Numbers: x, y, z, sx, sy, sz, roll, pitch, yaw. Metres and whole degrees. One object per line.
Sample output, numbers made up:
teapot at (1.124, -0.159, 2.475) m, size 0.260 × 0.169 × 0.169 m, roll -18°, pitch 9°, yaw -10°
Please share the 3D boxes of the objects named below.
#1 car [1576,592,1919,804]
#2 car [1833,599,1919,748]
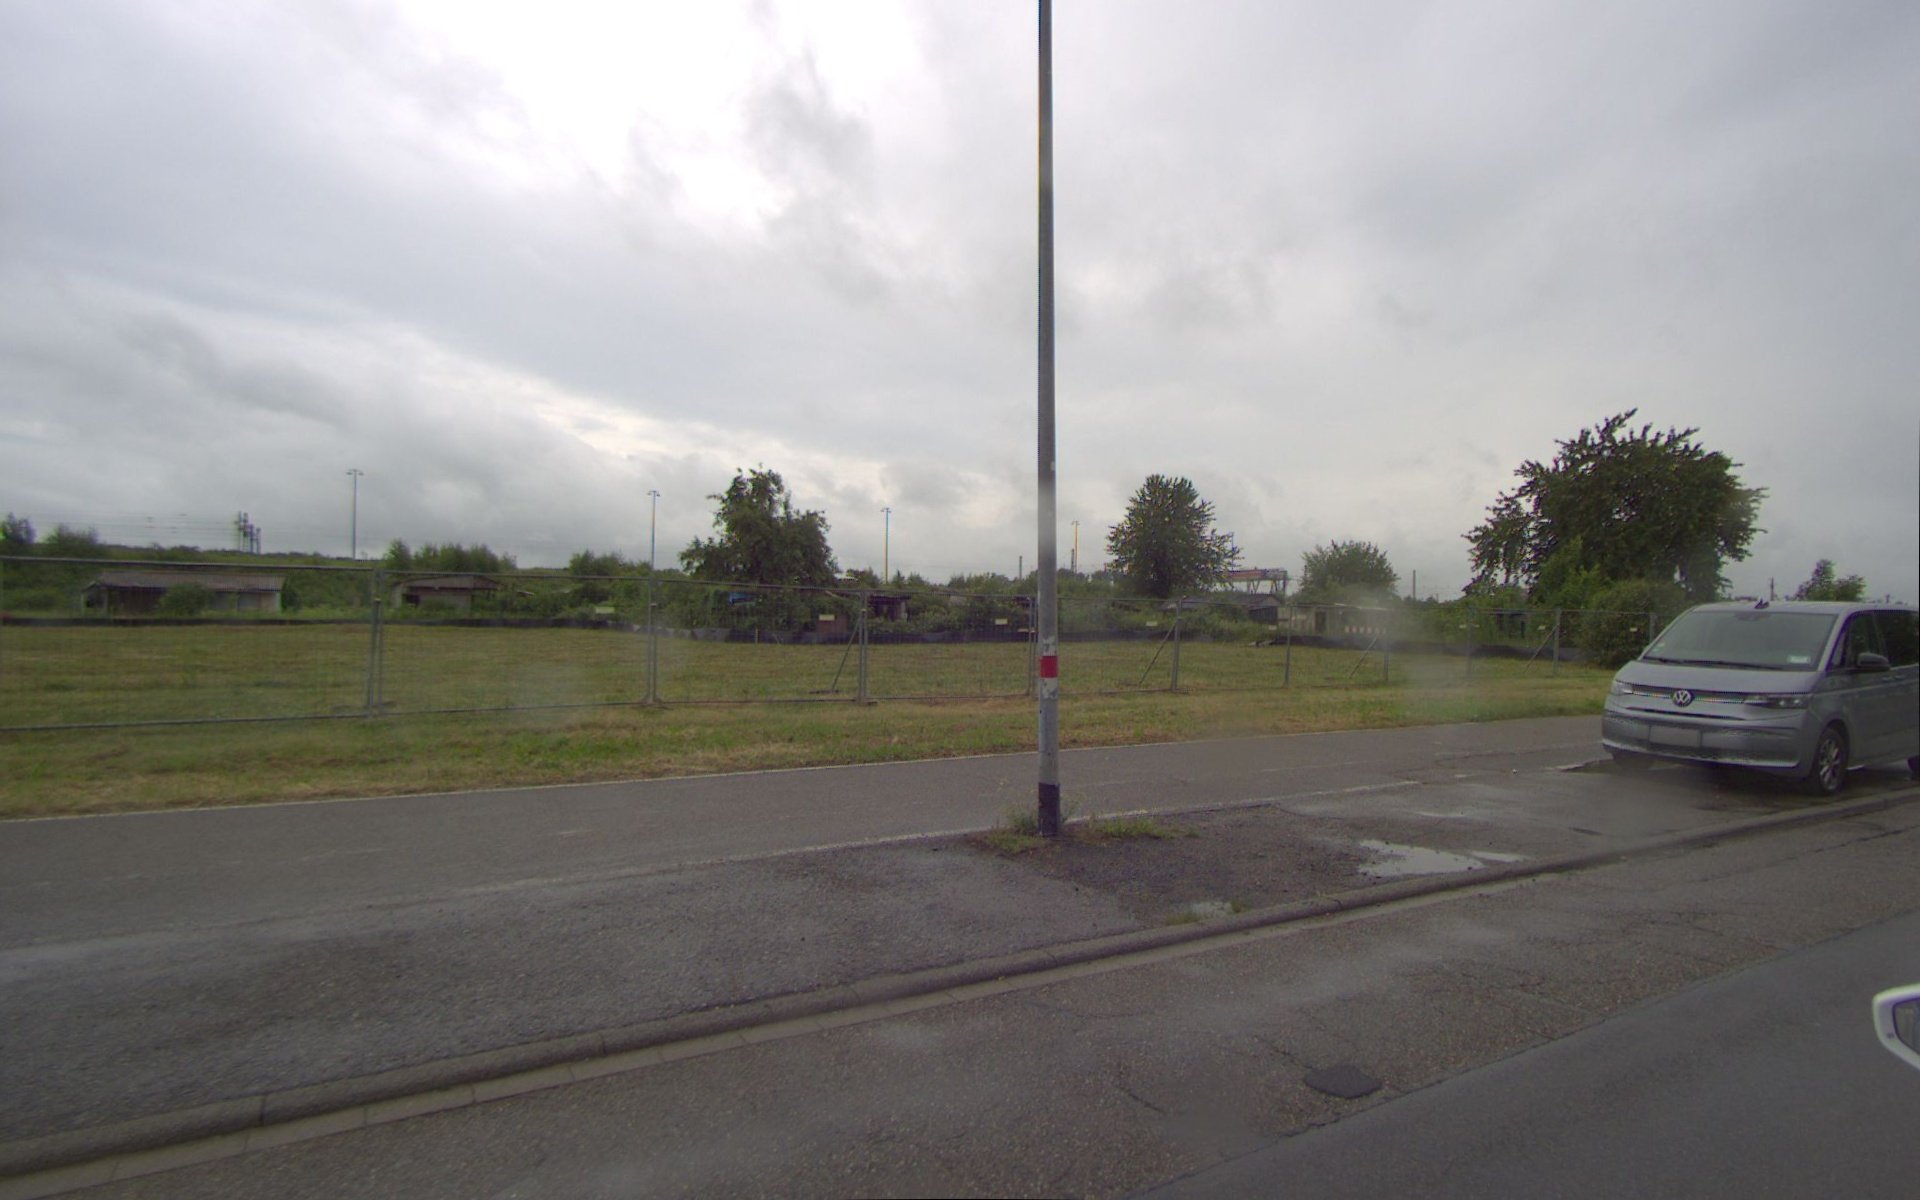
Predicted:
car at (9.256, 0.952, 11.243) m, size 4.937 × 1.927 × 1.946 m, roll 2°, pitch -1°, yaw -31°
car at (15.423, 1.069, 15.131) m, size 5.196 × 2.040 × 1.886 m, roll 1°, pitch -1°, yaw -30°
